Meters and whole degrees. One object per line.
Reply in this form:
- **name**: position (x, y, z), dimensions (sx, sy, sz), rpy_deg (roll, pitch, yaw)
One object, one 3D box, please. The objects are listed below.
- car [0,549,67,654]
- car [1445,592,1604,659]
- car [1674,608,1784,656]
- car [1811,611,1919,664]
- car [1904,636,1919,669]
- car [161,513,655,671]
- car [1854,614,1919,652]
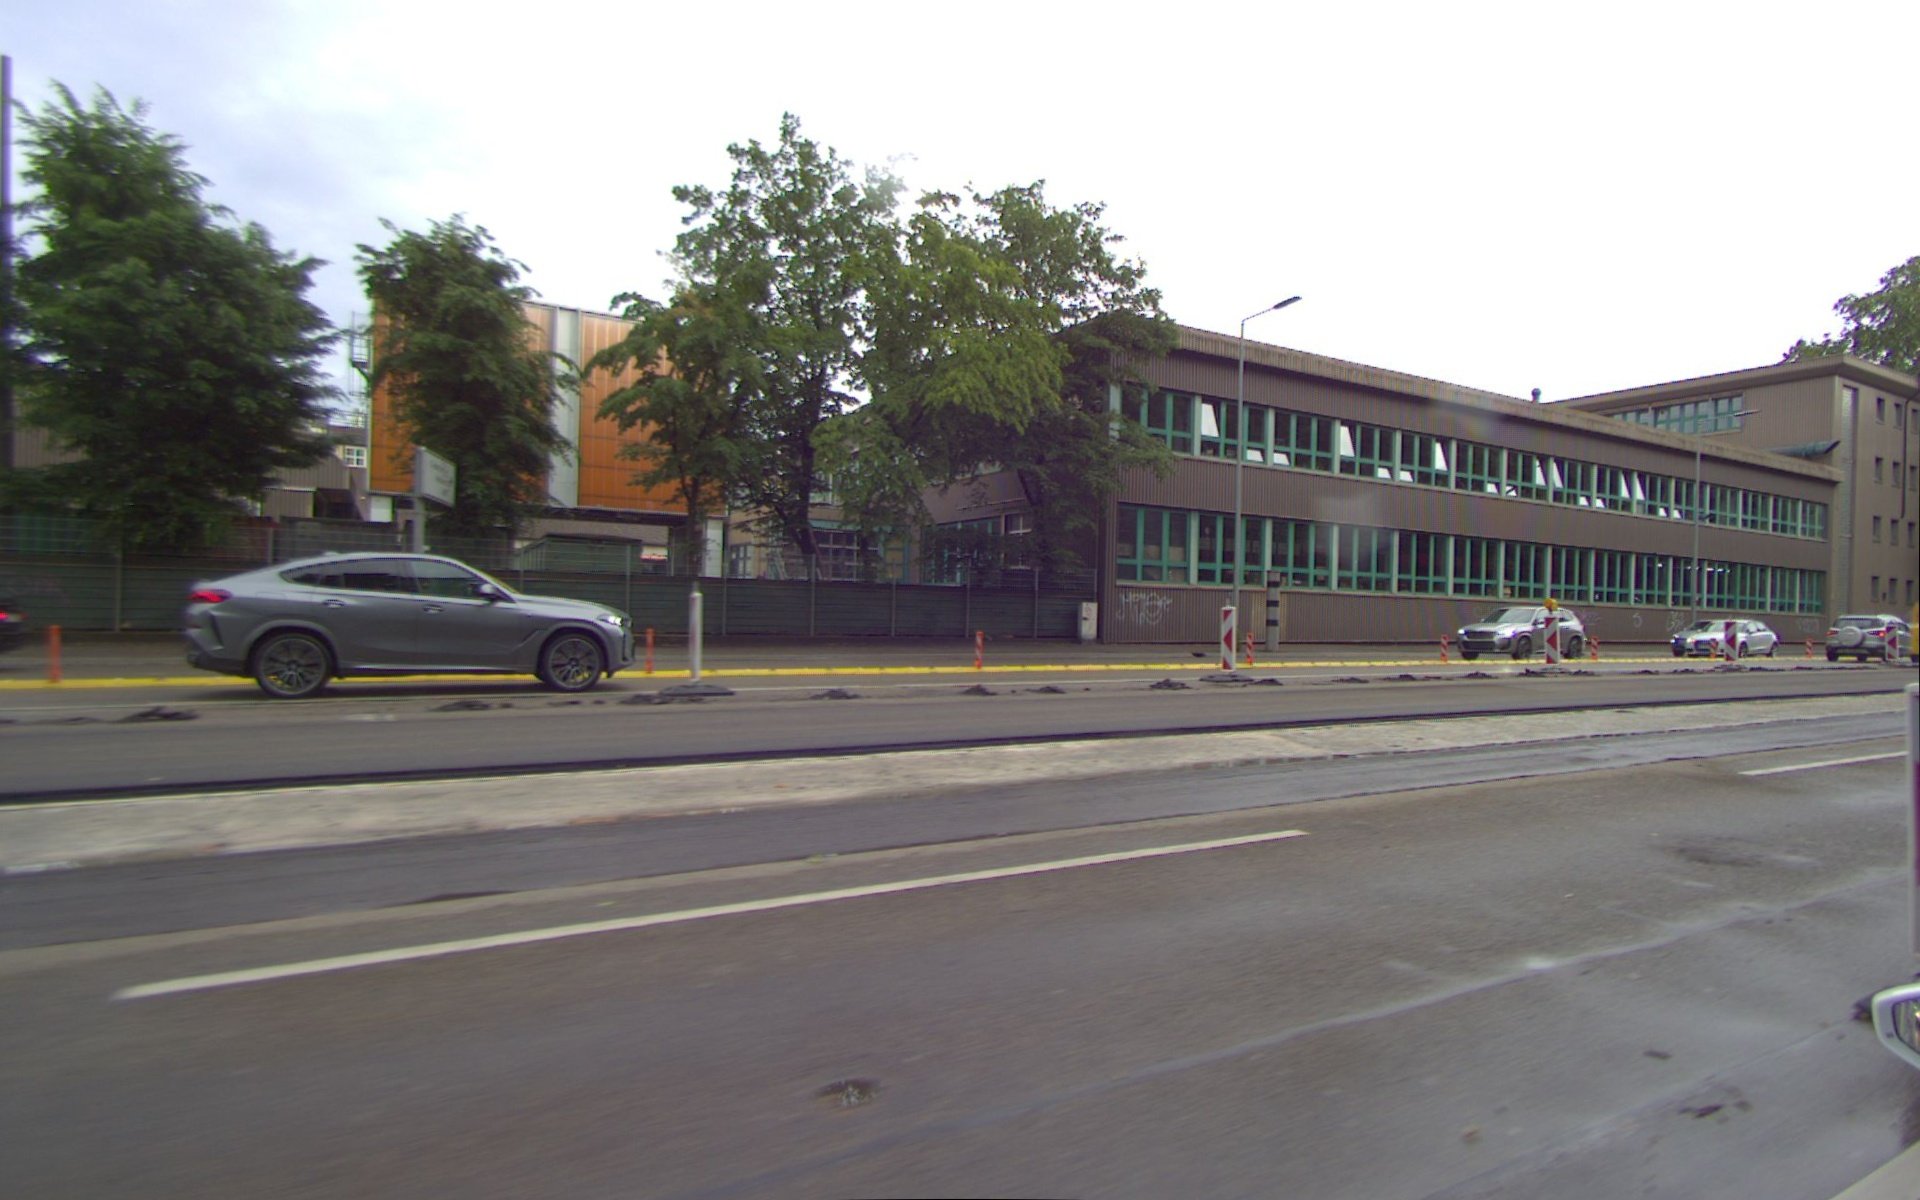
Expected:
- **car**: position (-15.868, -0.083, 14.010), dimensions (4.708, 1.473, 2.036), rpy_deg (3, 0, -30)
- **car**: position (16.956, 0.767, 30.143), dimensions (4.617, 1.792, 1.980), rpy_deg (3, 0, -29)
- **car**: position (28.158, 1.182, 36.779), dimensions (3.945, 1.555, 1.795), rpy_deg (3, 0, -30)
- **car**: position (31.756, 1.304, 35.095), dimensions (3.953, 1.670, 1.846), rpy_deg (2, 0, -30)
- **car**: position (53.633, 2.907, 54.743), dimensions (4.879, 1.729, 1.928), rpy_deg (3, 0, -31)
- **car**: position (-6.629, -0.015, 12.597), dimensions (4.998, 1.635, 2.066), rpy_deg (3, 0, -31)
- **car**: position (42.037, 1.509, 44.735), dimensions (4.460, 1.522, 1.886), rpy_deg (3, 0, -29)
